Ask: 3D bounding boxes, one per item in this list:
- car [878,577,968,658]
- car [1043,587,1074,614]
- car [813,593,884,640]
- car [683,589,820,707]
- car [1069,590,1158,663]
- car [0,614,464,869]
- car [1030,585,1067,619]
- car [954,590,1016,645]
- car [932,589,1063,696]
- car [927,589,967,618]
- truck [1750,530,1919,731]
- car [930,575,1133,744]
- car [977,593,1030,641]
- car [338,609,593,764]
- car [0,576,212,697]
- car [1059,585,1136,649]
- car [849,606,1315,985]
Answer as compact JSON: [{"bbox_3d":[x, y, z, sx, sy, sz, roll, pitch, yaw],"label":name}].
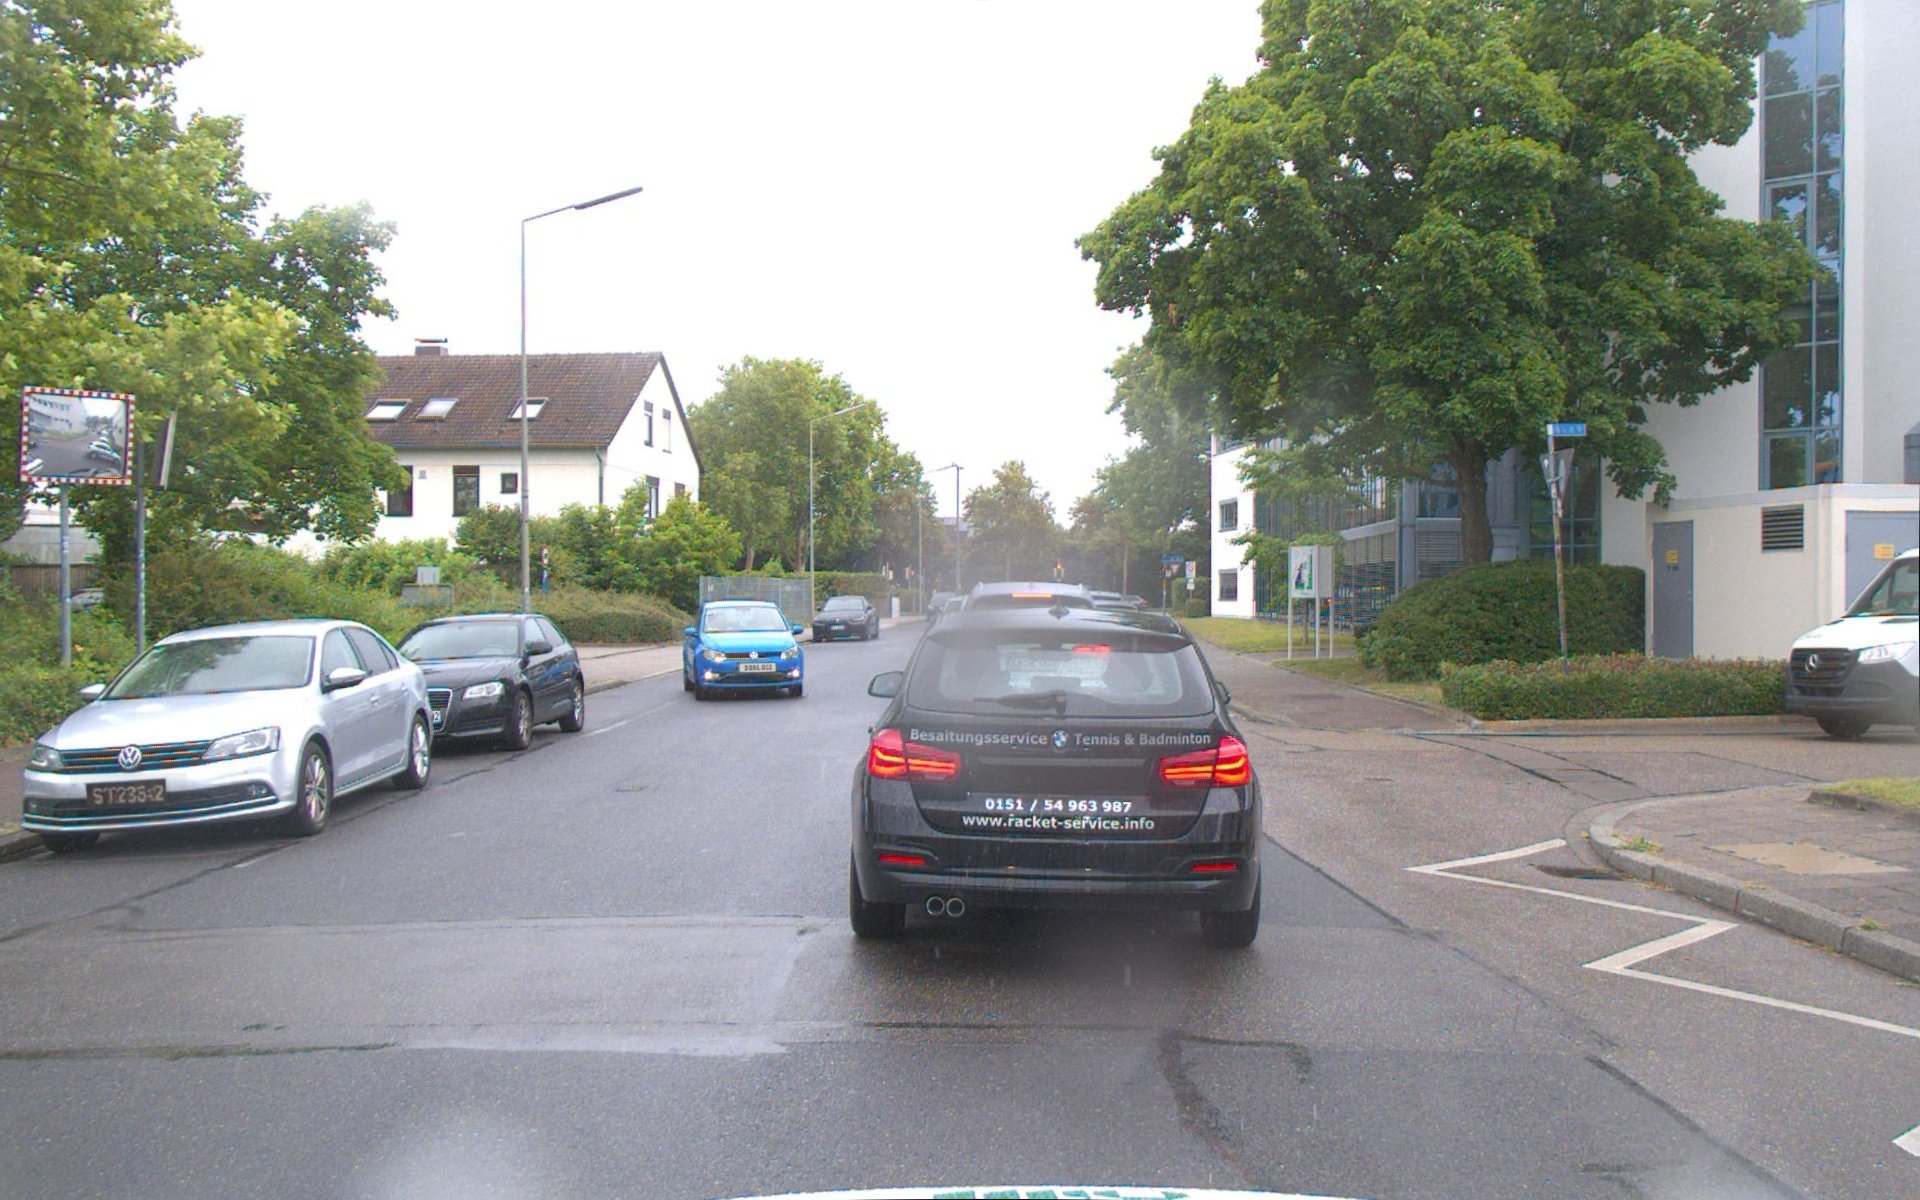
[{"bbox_3d":[-0.735,0.353,35.387,1.767,1.614,4.000,1,0,1],"label":"car"},{"bbox_3d":[5.827,0.010,98.198,1.766,1.614,4.001,0,0,3],"label":"car"},{"bbox_3d":[-3.661,0.532,54.840,1.669,1.391,3.841,-2,1,6],"label":"car"},{"bbox_3d":[-3.343,0.694,25.969,1.677,1.622,3.824,-3,0,-14],"label":"car"},{"bbox_3d":[3.576,0.600,39.190,1.767,1.614,4.000,1,0,1],"label":"car"},{"bbox_3d":[-5.129,0.869,12.284,1.672,1.391,4.598,-2,1,-3],"label":"car"},{"bbox_3d":[4.286,0.073,80.153,1.766,1.614,4.001,0,0,3],"label":"car"},{"bbox_3d":[0.811,0.522,51.338,1.766,1.614,4.001,1,0,3],"label":"car"},{"bbox_3d":[0.547,0.663,27.393,1.769,1.614,3.996,1,0,-5],"label":"car"},{"bbox_3d":[-0.647,0.181,86.778,1.669,1.391,3.841,-2,1,6],"label":"car"},{"bbox_3d":[13.039,0.319,19.263,6.786,2.177,2.093,0,0,-4],"label":"truck"},{"bbox_3d":[0.659,0.585,17.951,1.769,1.614,3.997,1,0,-4],"label":"car"},{"bbox_3d":[1.561,0.588,58.303,1.766,1.614,4.001,1,0,3],"label":"car"},{"bbox_3d":[-5.248,0.855,18.066,1.671,1.391,3.837,-2,0,-2],"label":"car"},{"bbox_3d":[-12.530,0.467,22.419,3.908,1.567,1.909,0,0,-4],"label":"car"},{"bbox_3d":[3.631,0.442,44.300,1.767,1.614,4.000,1,0,1],"label":"car"},{"bbox_3d":[0.346,0.752,8.266,1.768,1.419,3.997,1,0,-4],"label":"car"}]
